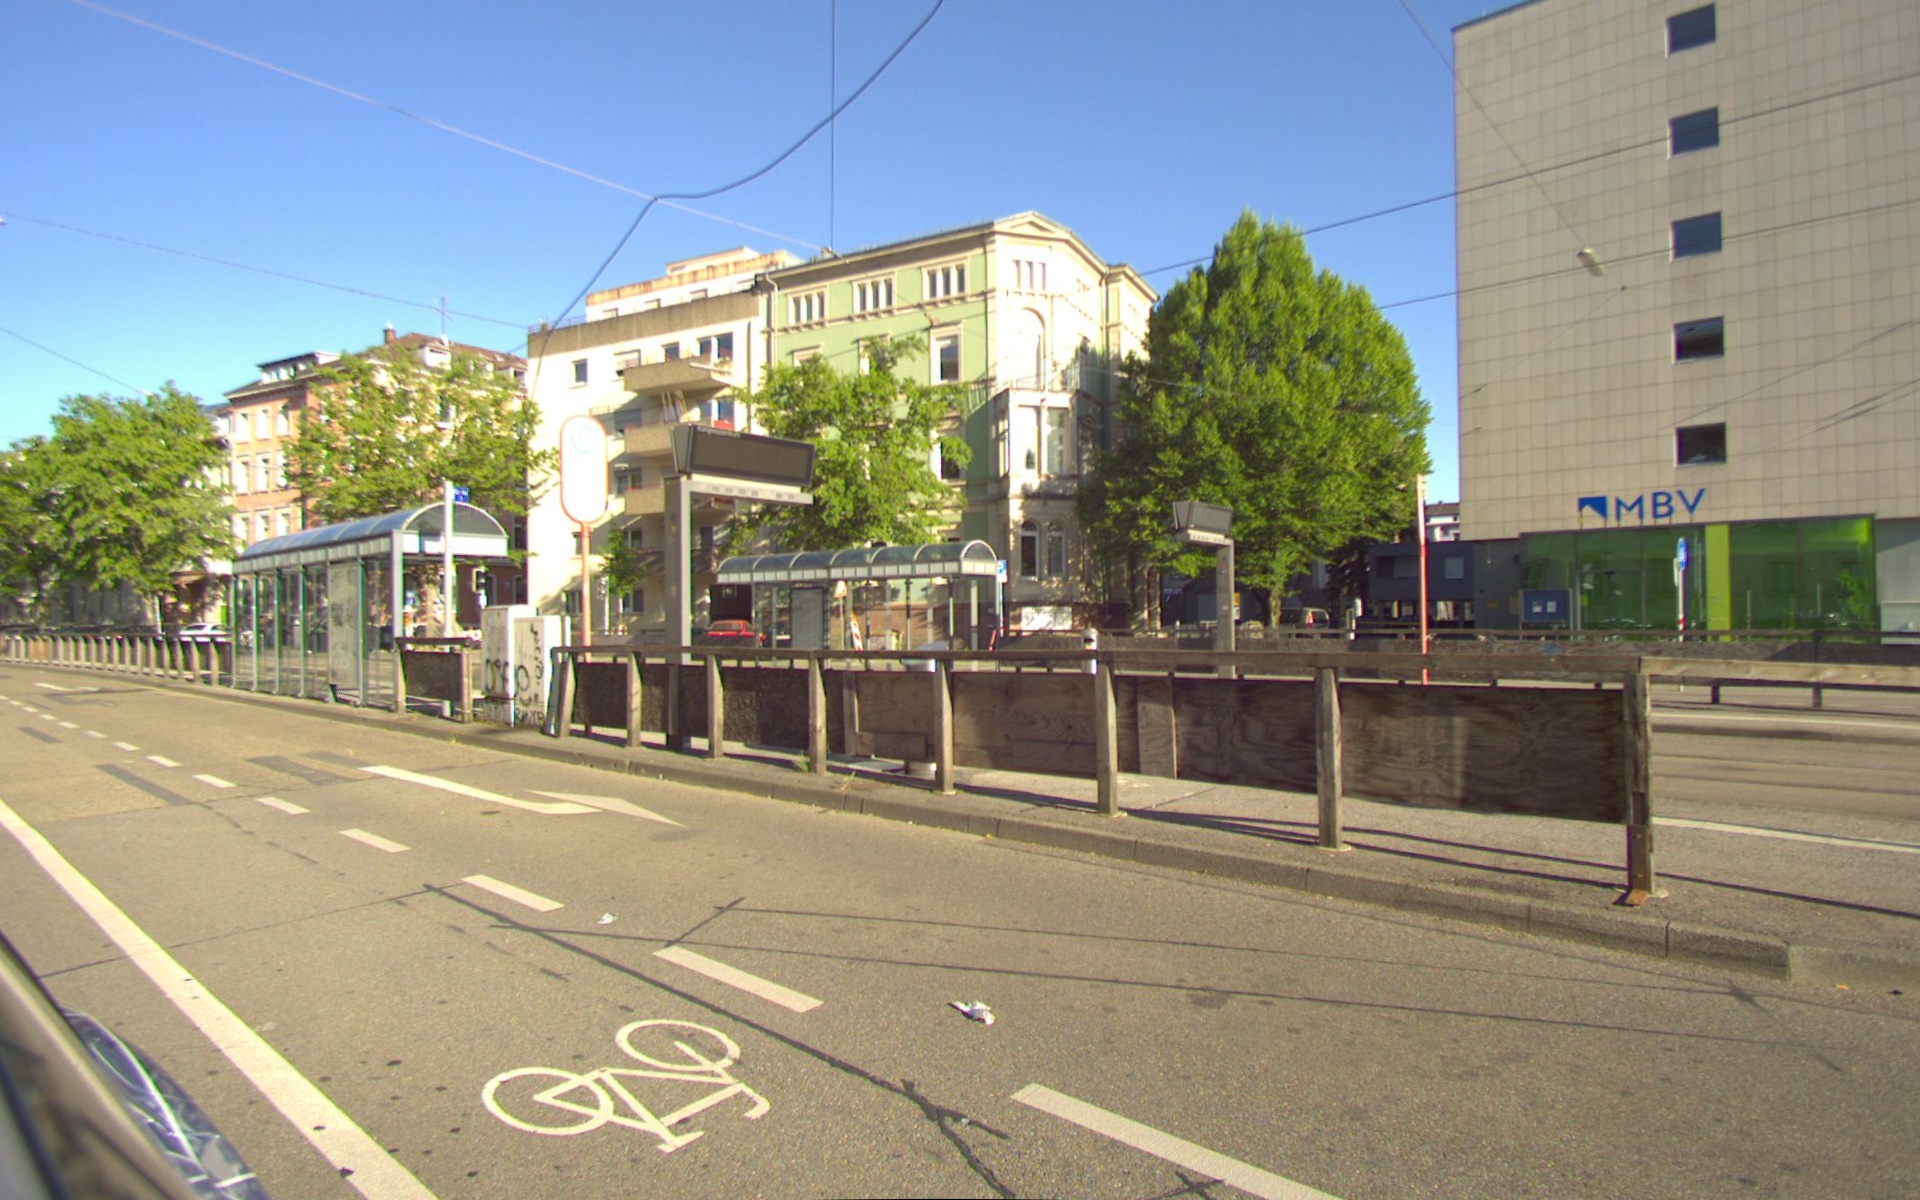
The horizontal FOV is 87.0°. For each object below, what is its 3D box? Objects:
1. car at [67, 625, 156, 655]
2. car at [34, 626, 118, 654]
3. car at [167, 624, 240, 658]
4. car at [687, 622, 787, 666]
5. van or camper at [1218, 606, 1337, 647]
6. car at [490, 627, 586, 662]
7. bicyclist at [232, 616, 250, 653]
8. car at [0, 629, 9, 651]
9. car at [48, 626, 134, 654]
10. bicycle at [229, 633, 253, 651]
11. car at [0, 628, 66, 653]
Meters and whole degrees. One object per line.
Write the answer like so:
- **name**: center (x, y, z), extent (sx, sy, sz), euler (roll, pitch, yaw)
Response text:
- **car**: center (-51.151, 2.402, 61.013), extent (2.001, 1.697, 3.942), euler (-2, -2, 44)
- **car**: center (-57.472, 2.567, 65.818), extent (2.001, 1.697, 3.942), euler (-2, -2, 44)
- **car**: center (-42.698, 2.264, 57.226), extent (1.966, 1.736, 4.012), euler (0, 0, -15)
- **car**: center (-8.194, 1.595, 37.521), extent (1.763, 1.547, 3.763), euler (-1, -2, 23)
- **van or camper**: center (12.311, 0.996, 39.367), extent (3.998, 1.417, 1.943), euler (1, 0, 41)
- **car**: center (-17.192, 1.801, 41.228), extent (3.498, 1.406, 1.602), euler (-1, -2, 22)
- **bicyclist**: center (-34.966, 1.686, 49.202), extent (0.770, 1.774, 0.529), euler (1, 0, 41)
- **car**: center (-71.264, 2.936, 72.981), extent (2.001, 1.604, 3.812), euler (-2, -2, 44)
- **car**: center (-54.466, 2.495, 63.488), extent (2.001, 1.697, 3.942), euler (-2, -2, 44)
- **bicycle**: center (-34.980, 2.025, 49.217), extent (1.852, 0.793, 0.529), euler (1, 0, 41)
- **car**: center (-62.778, 2.734, 68.132), extent (3.811, 1.604, 2.001), euler (1, -2, -45)
